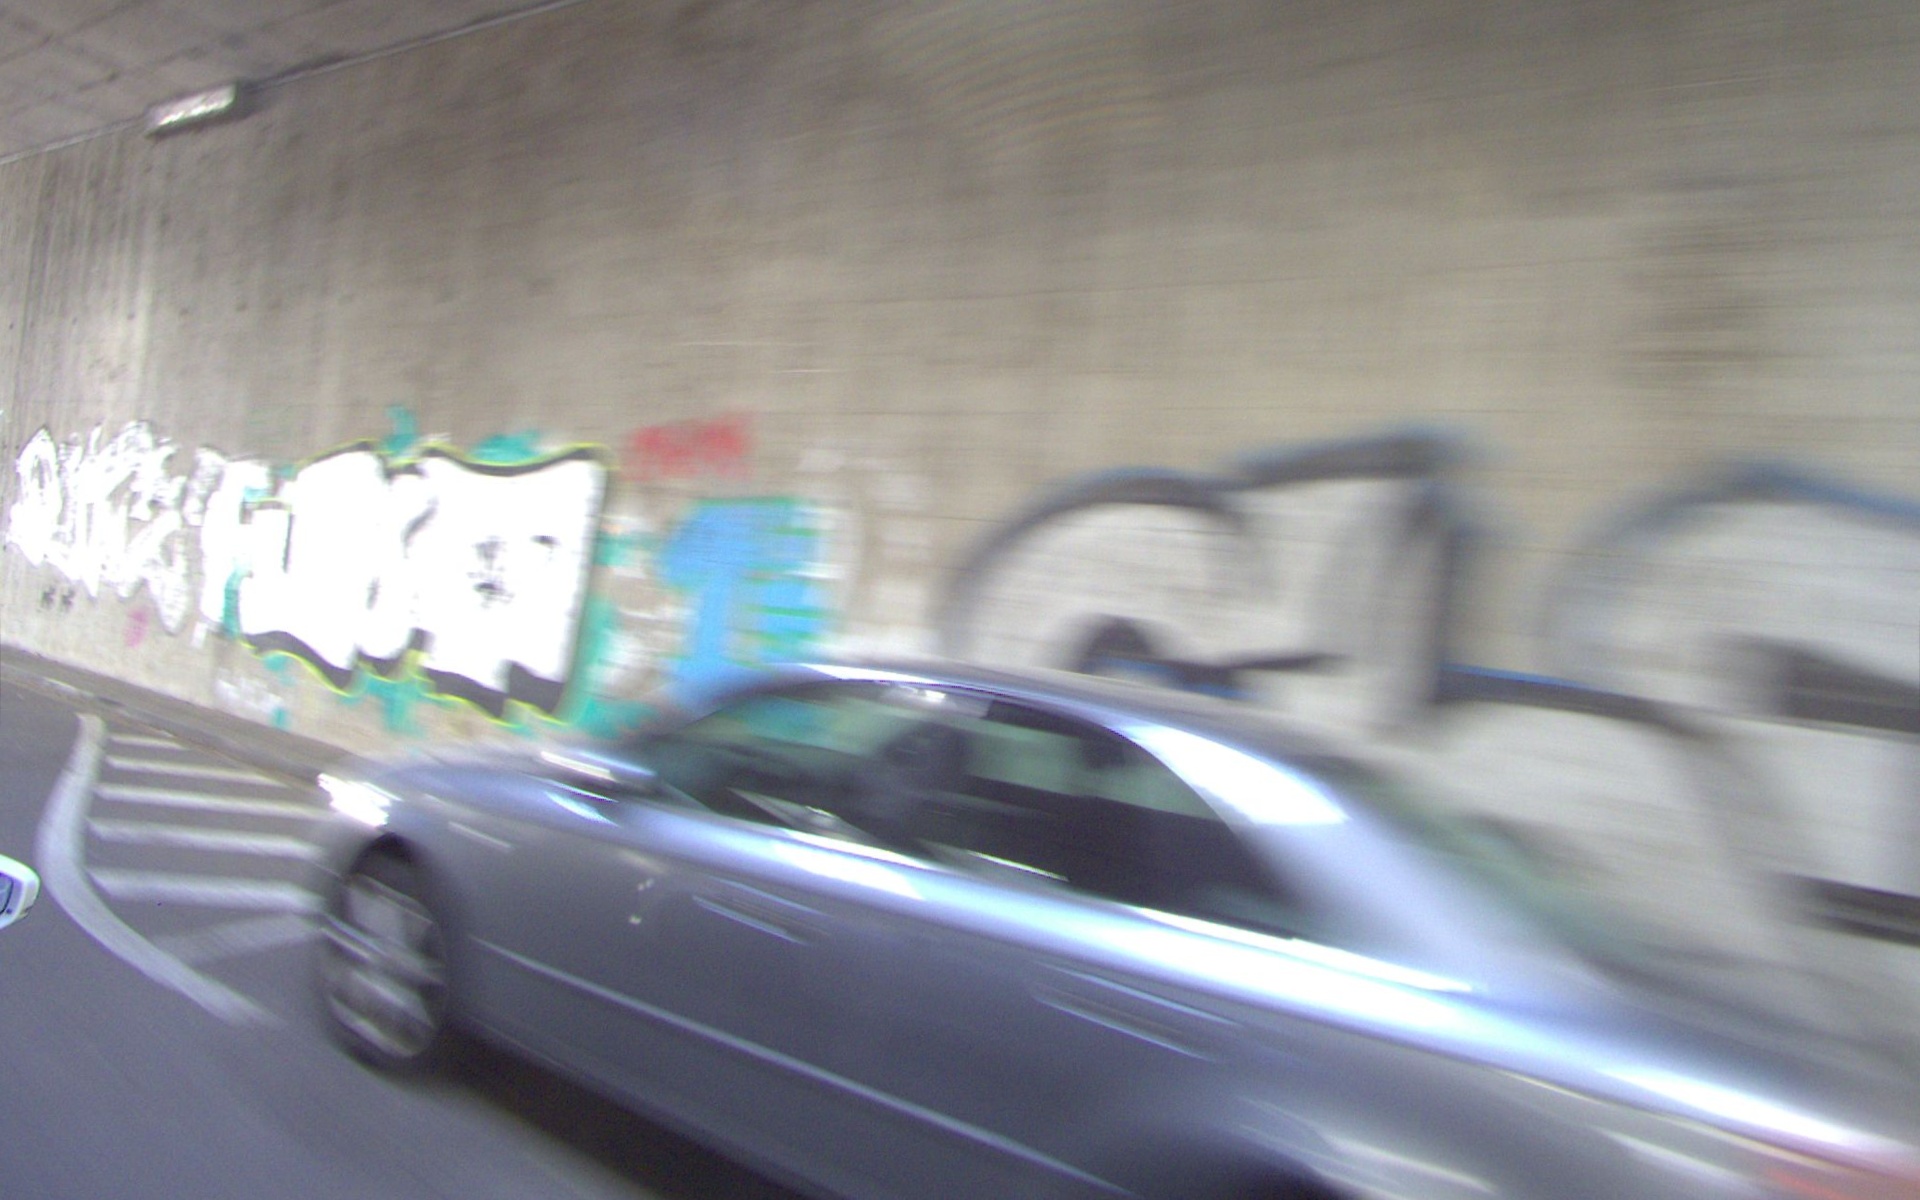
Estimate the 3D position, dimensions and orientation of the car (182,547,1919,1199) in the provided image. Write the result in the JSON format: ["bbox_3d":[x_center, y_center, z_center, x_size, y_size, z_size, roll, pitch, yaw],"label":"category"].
[{"bbox_3d":[-0.193,0.811,3.033,4.298,1.390,1.705,7,-2,28],"label":"car"}]
